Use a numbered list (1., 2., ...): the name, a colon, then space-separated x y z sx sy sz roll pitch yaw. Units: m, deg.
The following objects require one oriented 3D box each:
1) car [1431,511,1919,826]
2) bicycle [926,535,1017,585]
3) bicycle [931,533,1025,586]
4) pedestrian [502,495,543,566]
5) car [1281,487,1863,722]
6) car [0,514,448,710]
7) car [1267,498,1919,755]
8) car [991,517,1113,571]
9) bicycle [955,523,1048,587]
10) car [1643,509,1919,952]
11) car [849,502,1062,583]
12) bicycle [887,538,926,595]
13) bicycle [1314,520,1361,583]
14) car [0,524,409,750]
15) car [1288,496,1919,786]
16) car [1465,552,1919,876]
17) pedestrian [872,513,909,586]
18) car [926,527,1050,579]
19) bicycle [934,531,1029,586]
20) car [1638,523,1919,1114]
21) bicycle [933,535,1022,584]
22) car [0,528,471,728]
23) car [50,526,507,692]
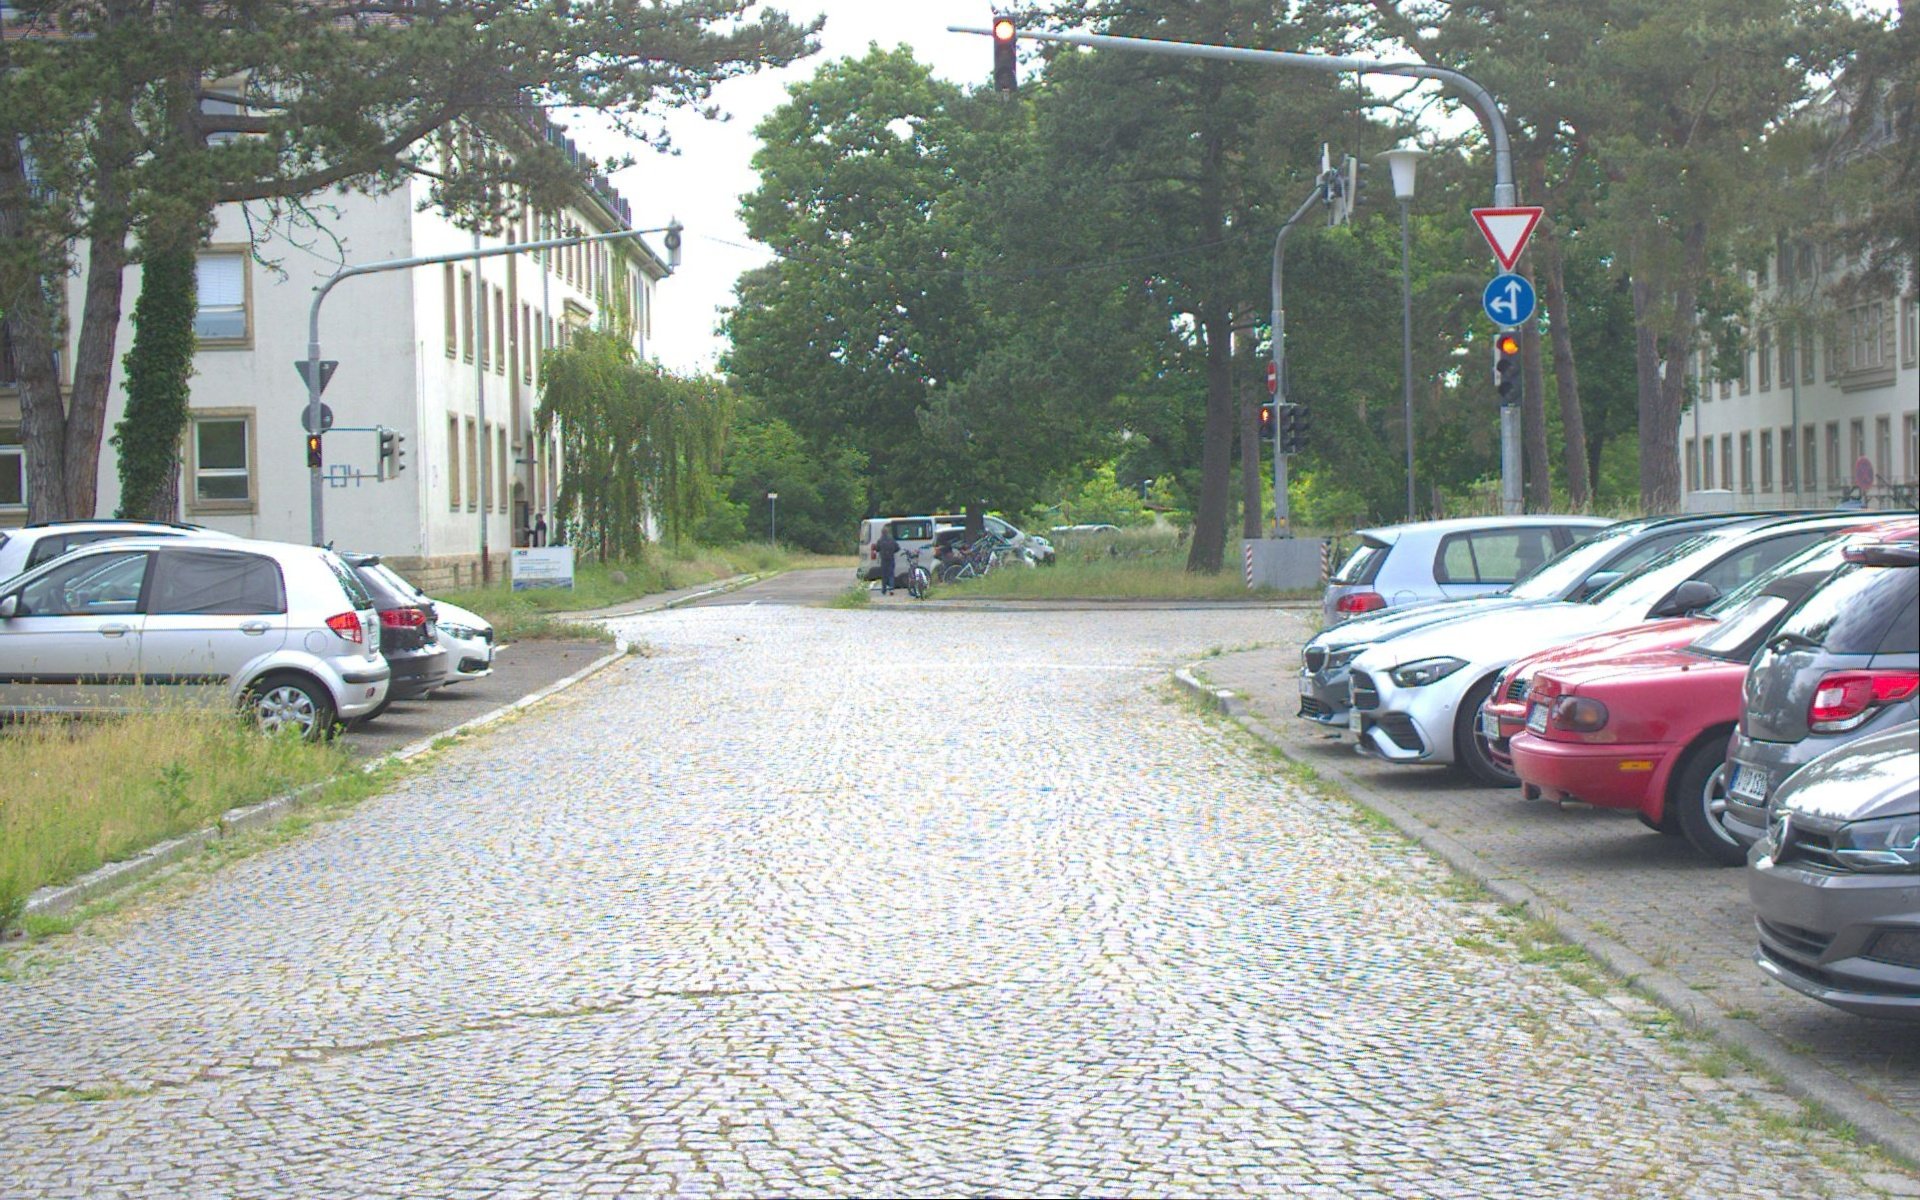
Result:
1. car: 4.730 0.271 17.767 4.262 1.411 1.871 -3 1 -1
2. bicycle: 0.263 -0.891 76.116 1.955 1.066 0.588 -2 1 -30
3. bicycle: 0.387 -0.885 74.632 1.954 1.113 0.588 -1 1 -7
4. pedestrian: -11.420 -1.802 89.686 0.774 1.831 0.741 -2 1 -32
5. car: 4.410 0.016 25.170 3.927 1.472 1.642 -3 1 1
6. car: -6.503 0.083 29.709 3.947 1.558 1.650 1 1 -3
7. car: 4.517 0.134 22.721 4.680 1.411 1.871 -3 1 -2
8. car: 2.553 -1.566 95.964 3.231 1.411 1.725 -1 1 -3
9. bicycle: 0.916 -0.992 75.463 1.954 1.379 0.588 -1 1 -7
10. car: 4.665 0.352 12.656 3.862 1.467 1.758 -3 1 -1
11. car: -0.137 -1.546 92.074 5.359 1.918 2.025 -3 1 -9
12. bicycle: -1.112 -0.698 70.800 0.603 1.128 1.962 -1 1 -6
13. bicycle: 6.795 -0.878 61.905 0.586 1.102 1.962 -1 1 -1
14. car: -5.866 0.228 24.335 3.702 1.474 1.583 1 1 -3
15. car: 4.331 0.177 20.033 4.421 1.411 1.871 -3 1 -9
16. car: 4.346 0.420 15.267 3.862 1.232 1.758 -3 1 -1
17. pedestrian: -1.543 -1.130 76.505 0.738 1.613 0.776 -1 1 1
18. car: 0.706 -1.213 88.709 3.005 1.264 1.535 -1 1 -6
19. bicycle: 0.457 -0.895 73.999 1.954 1.128 0.588 -1 1 -7
20. car: 4.098 0.461 9.783 3.862 1.467 1.758 -3 1 -4
21. bicycle: 0.399 -0.921 77.466 1.955 1.066 0.588 -2 1 -30
22. car: -5.798 0.198 26.933 3.745 1.424 1.583 1 1 -3
23. car: -6.333 0.065 32.252 3.947 1.416 1.650 1 1 -1
